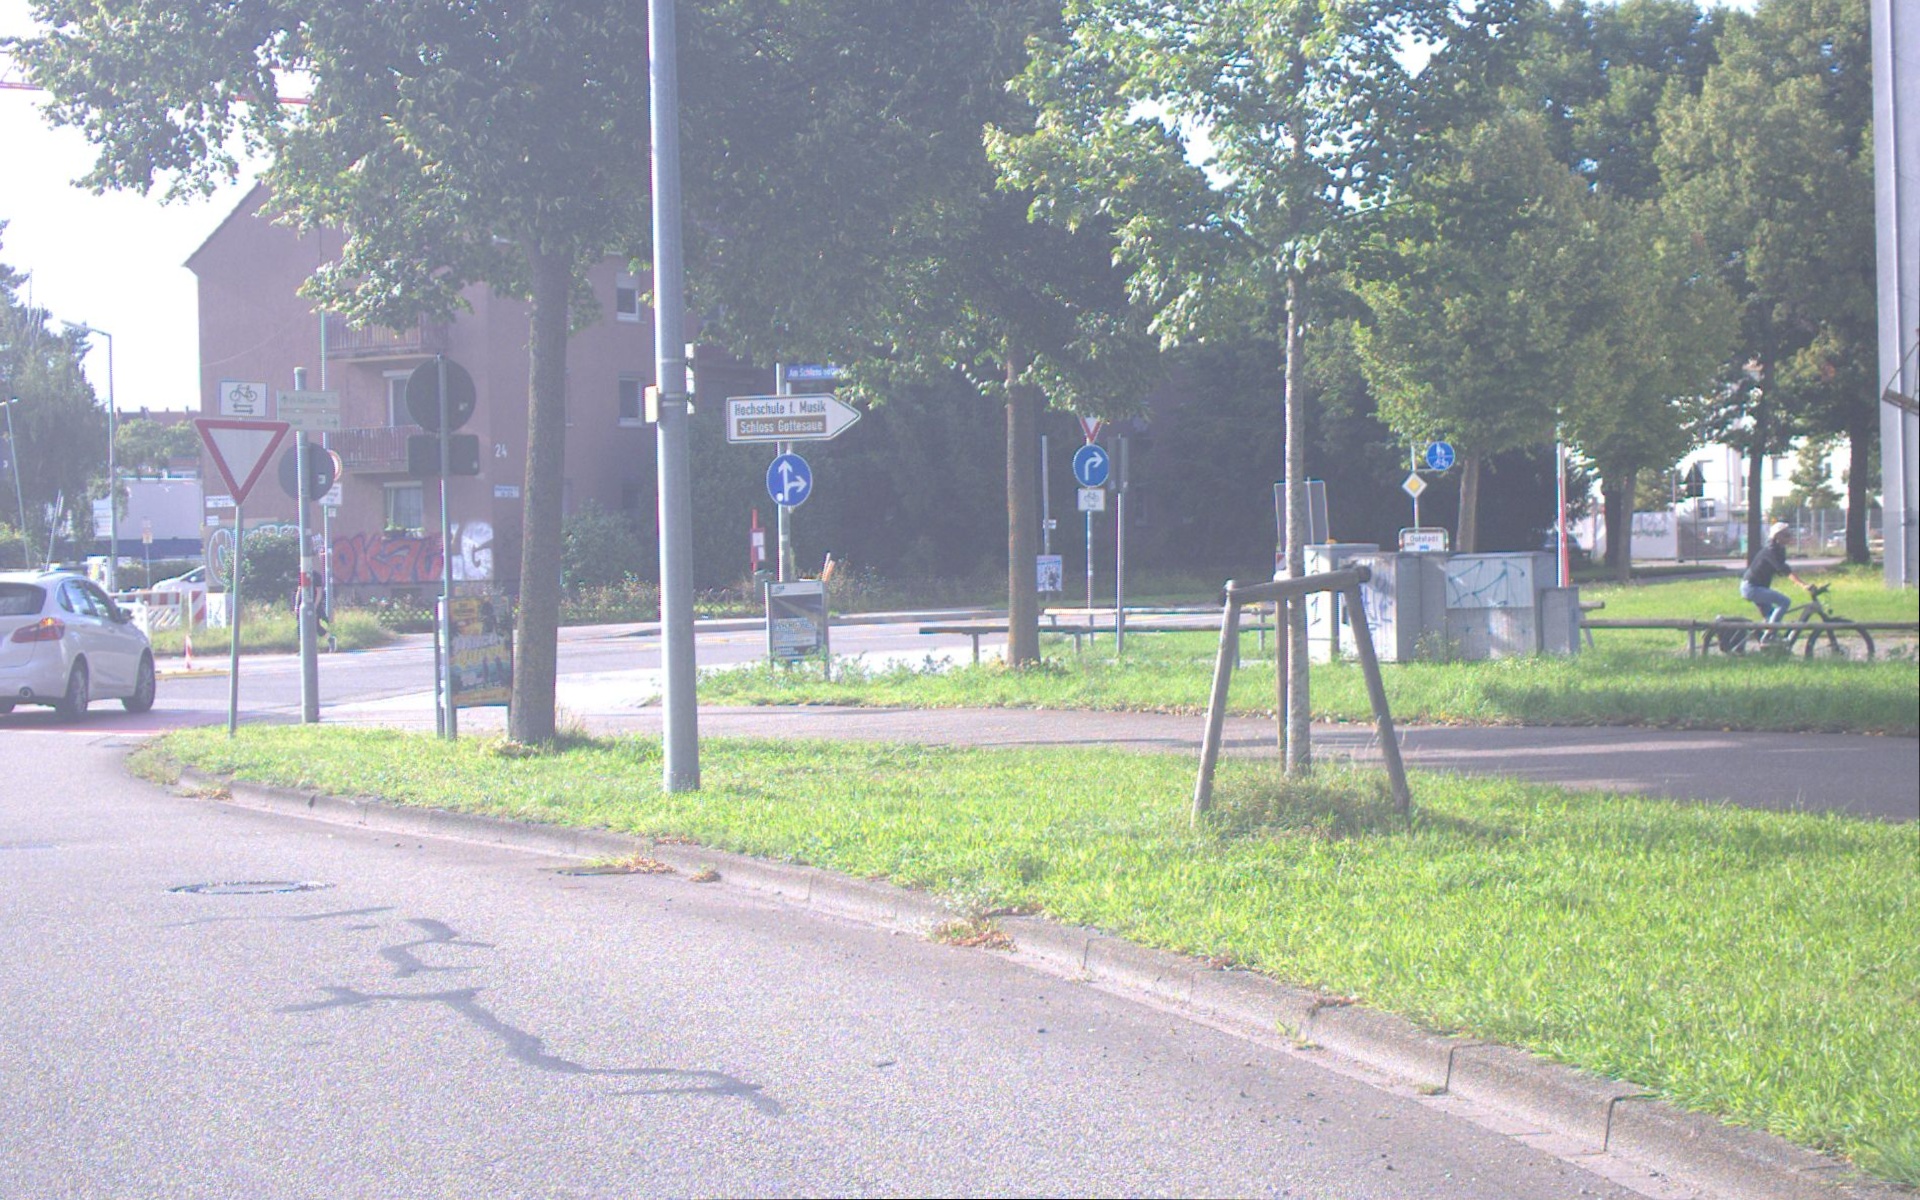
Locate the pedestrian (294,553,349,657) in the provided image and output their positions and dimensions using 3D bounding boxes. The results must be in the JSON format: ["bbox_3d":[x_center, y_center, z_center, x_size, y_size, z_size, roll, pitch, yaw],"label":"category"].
[{"bbox_3d":[-11.714,0.085,63.064,0.667,1.864,0.835,-1,1,13],"label":"pedestrian"}]

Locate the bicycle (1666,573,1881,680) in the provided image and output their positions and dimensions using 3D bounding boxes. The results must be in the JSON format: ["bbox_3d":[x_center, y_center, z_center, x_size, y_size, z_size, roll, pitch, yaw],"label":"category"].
[{"bbox_3d":[8.848,0.275,37.454,2.147,1.133,0.771,0,1,38],"label":"bicycle"}]

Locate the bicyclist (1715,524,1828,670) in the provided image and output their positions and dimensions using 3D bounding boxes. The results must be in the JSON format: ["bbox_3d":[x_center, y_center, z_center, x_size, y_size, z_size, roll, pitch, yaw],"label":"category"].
[{"bbox_3d":[8.838,-0.042,37.451,0.959,1.569,0.771,0,1,38],"label":"bicyclist"}]

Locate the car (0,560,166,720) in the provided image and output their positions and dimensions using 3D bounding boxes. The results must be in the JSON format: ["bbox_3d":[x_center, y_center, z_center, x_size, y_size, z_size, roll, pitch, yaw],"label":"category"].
[{"bbox_3d":[-9.941,0.376,36.772,1.850,1.567,4.455,0,1,0],"label":"car"}]

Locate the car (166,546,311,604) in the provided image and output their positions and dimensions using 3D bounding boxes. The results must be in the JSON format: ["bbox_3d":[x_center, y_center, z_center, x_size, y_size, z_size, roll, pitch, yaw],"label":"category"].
[{"bbox_3d":[-21.457,-0.753,102.368,3.986,1.612,1.773,-1,1,-4],"label":"car"}]

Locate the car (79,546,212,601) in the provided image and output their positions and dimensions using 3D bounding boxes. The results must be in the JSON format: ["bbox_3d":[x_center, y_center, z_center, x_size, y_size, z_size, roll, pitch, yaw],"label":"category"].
[{"bbox_3d":[-25.459,-0.820,107.432,3.986,1.612,1.774,-1,1,-15],"label":"car"}]
